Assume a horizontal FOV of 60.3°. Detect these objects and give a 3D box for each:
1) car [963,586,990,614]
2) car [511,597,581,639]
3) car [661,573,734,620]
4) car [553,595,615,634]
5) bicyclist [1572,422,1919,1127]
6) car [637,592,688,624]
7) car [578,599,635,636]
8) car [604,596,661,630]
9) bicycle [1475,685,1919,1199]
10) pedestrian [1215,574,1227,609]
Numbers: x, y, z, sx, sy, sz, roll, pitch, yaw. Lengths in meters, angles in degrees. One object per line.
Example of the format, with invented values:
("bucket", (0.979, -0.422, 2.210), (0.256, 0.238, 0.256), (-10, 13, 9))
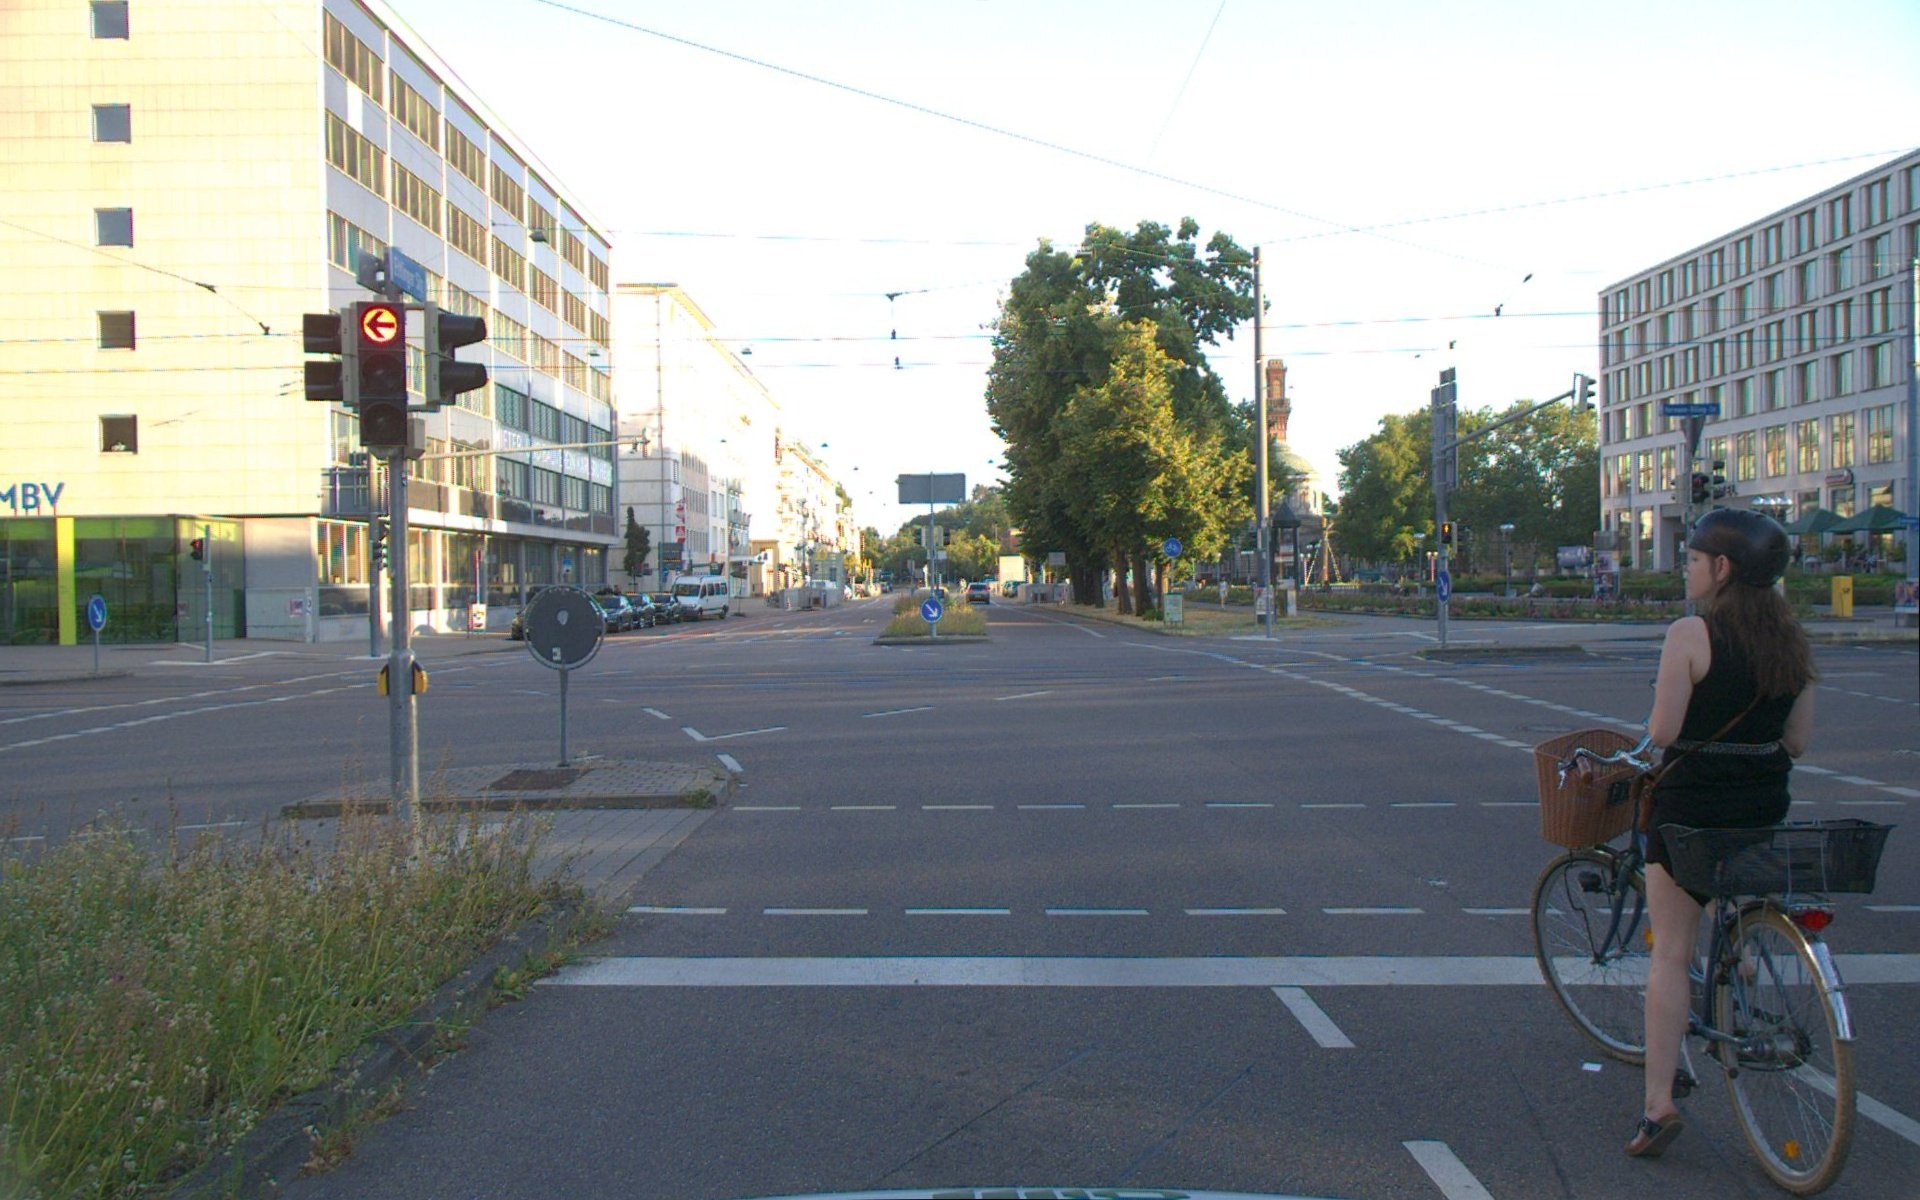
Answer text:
("car", (1.251, -0.037, 126.706), (1.953, 2.049, 3.999), (-1, 0, -1))
("car", (-15.887, 0.720, 63.665), (1.760, 1.501, 3.998), (-1, -2, -1))
("car", (-14.770, -0.134, 93.296), (2.130, 2.427, 5.994), (-2, -2, 11))
("car", (-15.815, 0.640, 69.744), (1.760, 1.501, 3.998), (-1, -2, -1))
("bicyclist", (2.115, 0.425, 4.451), (0.615, 1.723, 0.748), (-1, 0, -1))
("car", (-15.580, 0.447, 86.691), (1.758, 1.501, 4.001), (-1, -2, 3))
("car", (-15.927, 0.817, 74.750), (1.760, 1.501, 3.998), (-1, -2, -1))
("car", (-15.844, 0.644, 80.287), (1.758, 1.501, 4.001), (-1, -2, 3))
("bicycle", (2.128, 0.852, 4.768), (0.624, 1.087, 2.069), (0, 0, -1))
("pedestrian", (12.980, -0.419, 82.207), (0.498, 1.697, 0.531), (-1, 0, -2))
